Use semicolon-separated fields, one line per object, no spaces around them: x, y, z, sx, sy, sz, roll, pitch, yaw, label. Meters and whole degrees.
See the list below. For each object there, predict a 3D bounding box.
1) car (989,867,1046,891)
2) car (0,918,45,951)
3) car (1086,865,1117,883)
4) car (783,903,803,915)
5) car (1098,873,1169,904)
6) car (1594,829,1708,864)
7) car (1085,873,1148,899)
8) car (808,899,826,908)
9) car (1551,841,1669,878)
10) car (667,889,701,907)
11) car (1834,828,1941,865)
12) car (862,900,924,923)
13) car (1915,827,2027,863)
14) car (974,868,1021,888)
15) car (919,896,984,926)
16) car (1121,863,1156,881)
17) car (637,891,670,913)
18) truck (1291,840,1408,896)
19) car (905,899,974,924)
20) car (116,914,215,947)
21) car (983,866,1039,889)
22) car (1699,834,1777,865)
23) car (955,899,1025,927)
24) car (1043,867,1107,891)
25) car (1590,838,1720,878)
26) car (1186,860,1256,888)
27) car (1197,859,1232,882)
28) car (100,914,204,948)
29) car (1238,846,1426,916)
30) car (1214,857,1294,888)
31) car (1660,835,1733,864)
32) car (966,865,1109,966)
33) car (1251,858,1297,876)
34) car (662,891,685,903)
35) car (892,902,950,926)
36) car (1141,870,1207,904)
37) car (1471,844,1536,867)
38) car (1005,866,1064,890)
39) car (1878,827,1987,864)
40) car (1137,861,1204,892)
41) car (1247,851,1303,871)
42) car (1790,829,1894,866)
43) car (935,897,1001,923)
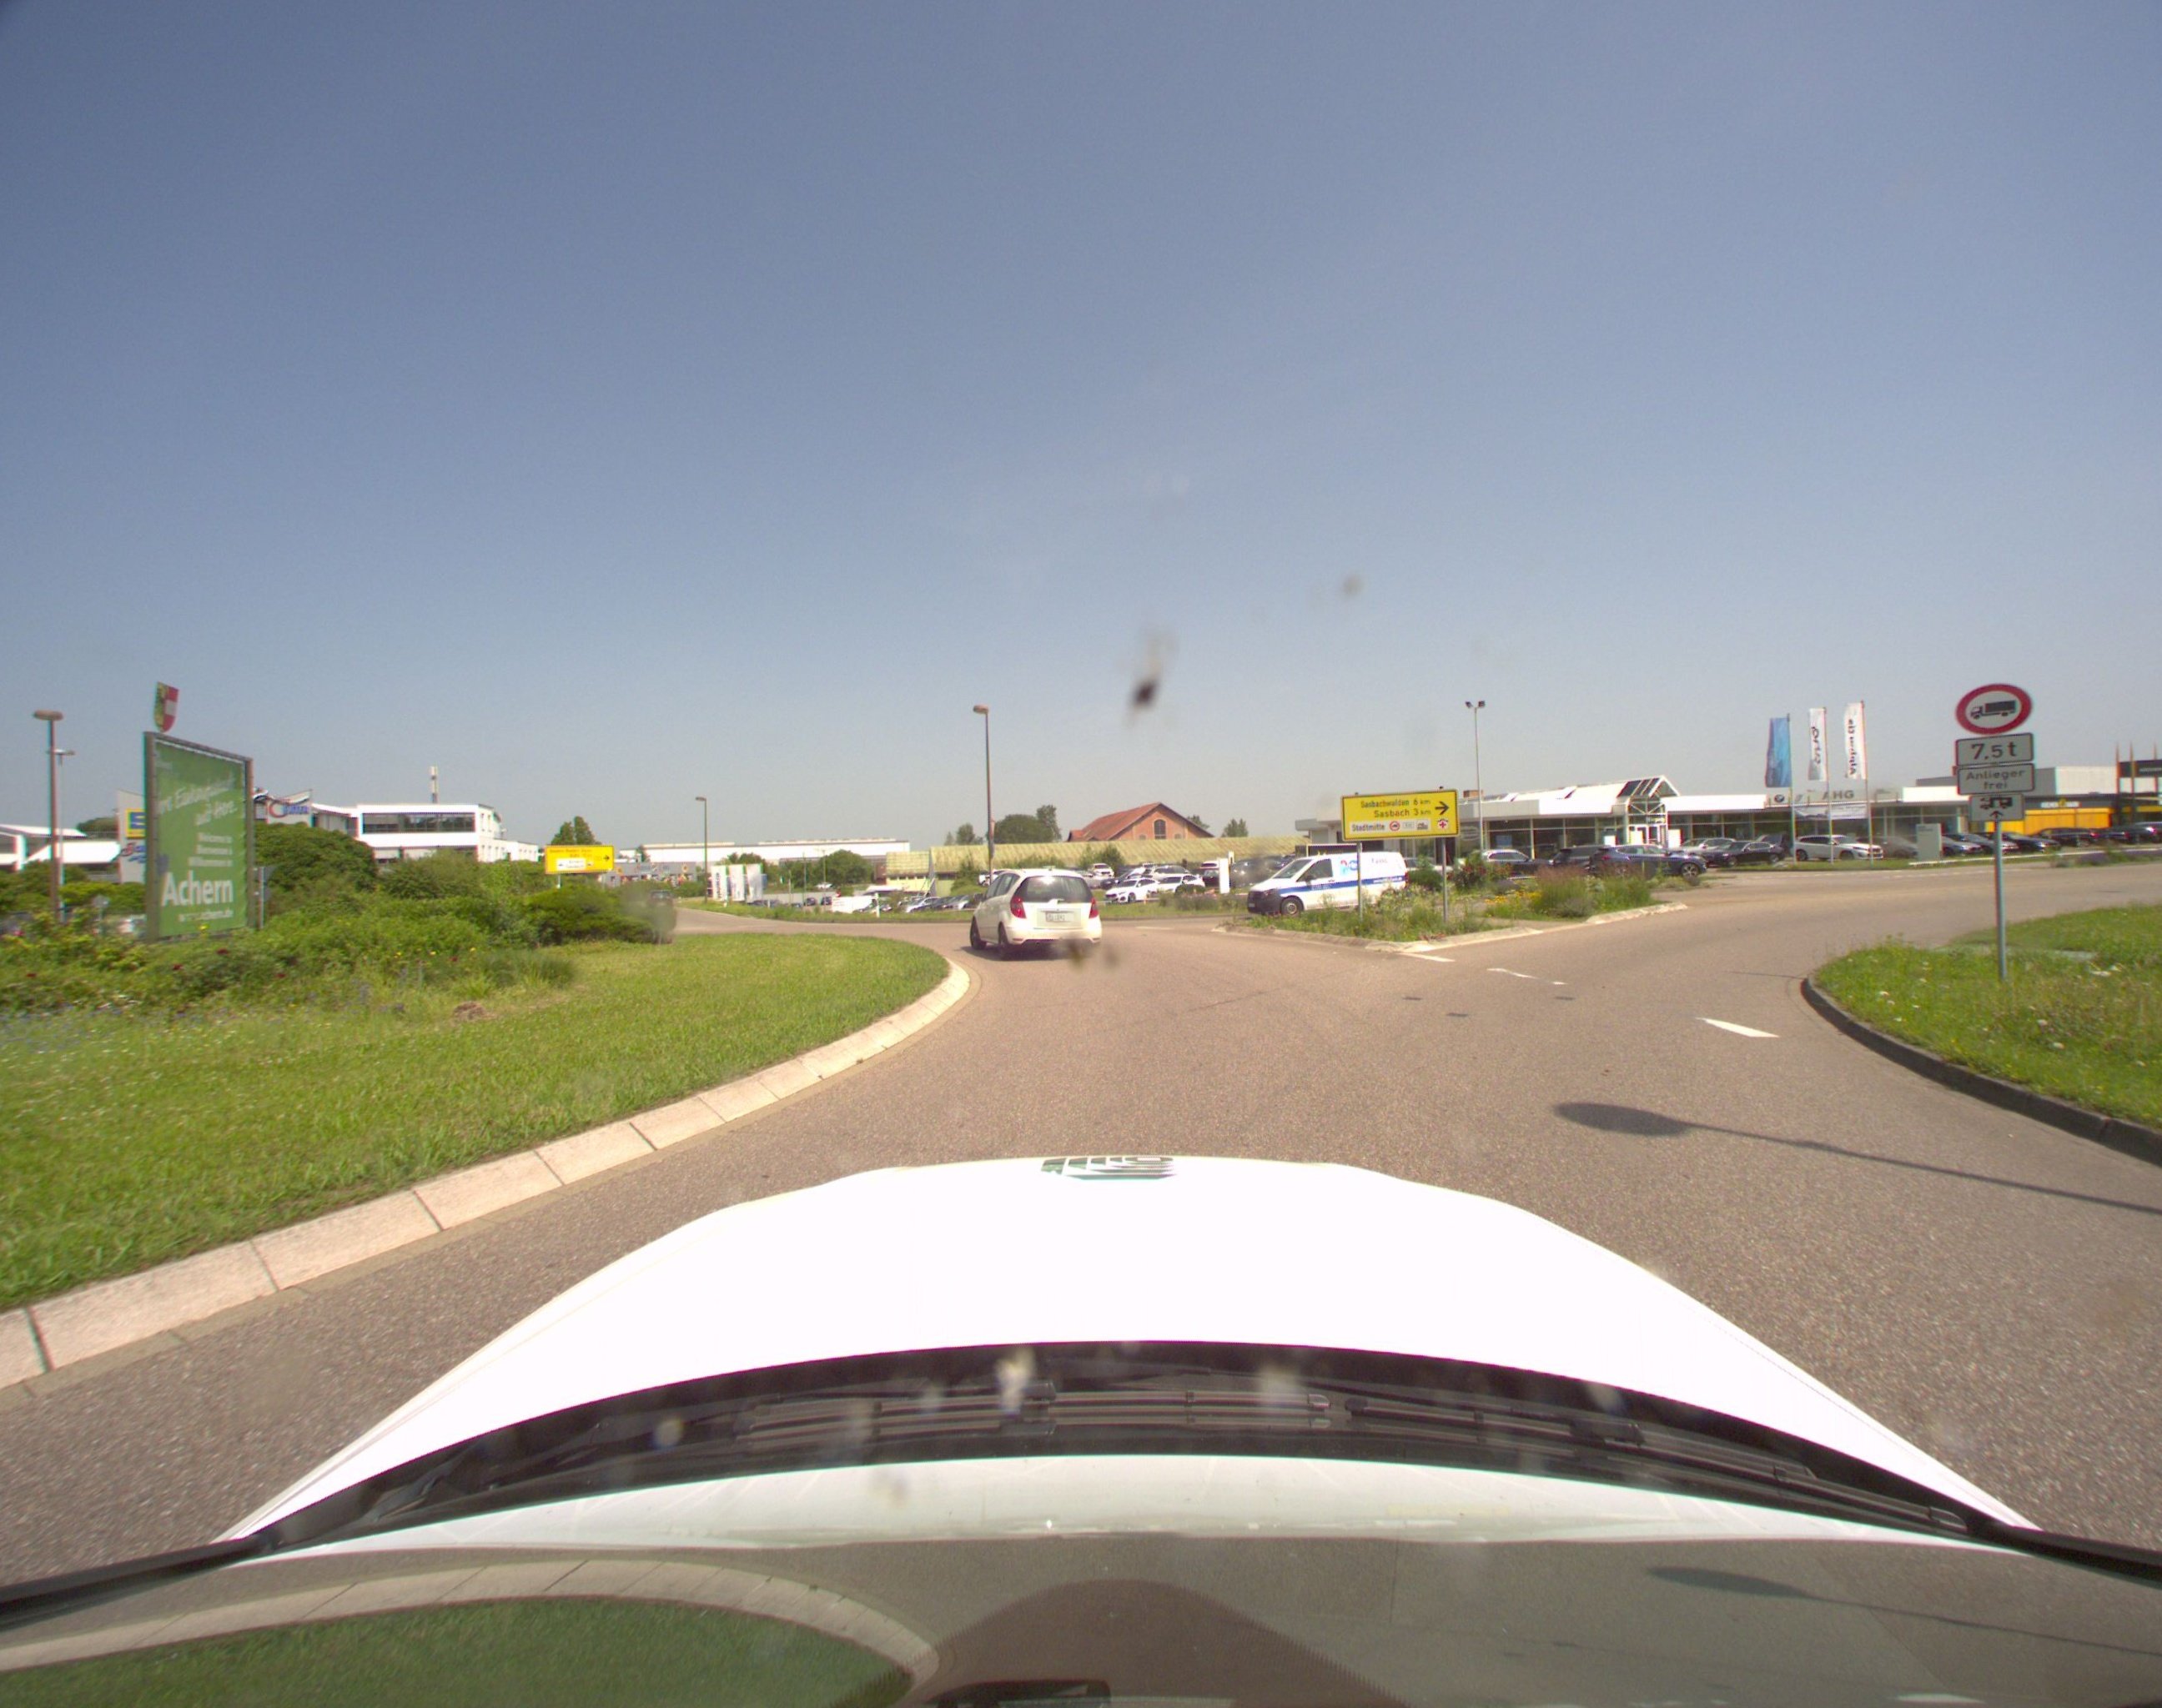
-5.331;2.056;68.154;4.462;1.747;1.829;-2;-1;-16;car
-55.884;4.180;41.115;3.994;1.574;1.989;-2;-2;-15;car
1.940;1.927;77.888;1.919;1.596;4.284;-2;-1;-13;car
-37.764;7.162;106.845;2.139;1.457;4.507;-1;-3;-15;car
3.227;2.060;49.313;1.745;1.570;4.606;-5;-2;41;car
29.052;-0.362;41.650;4.327;1.512;1.918;-3;-1;17;car
2.448;2.185;56.117;3.996;1.526;1.943;-3;-1;-10;car
-44.197;8.210;136.476;1.989;1.398;3.994;-1;-3;-3;car
25.131;0.254;38.851;4.327;1.512;1.918;-3;-1;17;car
-47.065;5.248;96.662;1.986;2.014;4.000;-2;-3;1;car
49.854;-0.411;50.466;1.995;2.014;4.244;-1;-3;-11;car
-15.669;4.809;67.999;4.517;1.640;2.123;0;-4;-39;car
55.889;-0.539;51.262;1.995;2.014;4.244;-1;-3;-11;car
-7.419;2.153;72.565;3.883;1.533;1.759;-2;-1;-16;car
-9.696;4.261;61.017;4.280;1.748;1.978;-3;-3;-35;car
5.536;1.747;79.327;2.190;1.596;4.284;-2;-1;-13;car
-30.472;3.393;58.196;1.837;1.471;4.373;0;-3;-24;car
14.261;0.750;43.404;5.609;2.665;1.943;-3;-1;-10;truck
-10.990;4.438;63.253;4.802;1.508;1.978;-3;-3;-35;car
-50.694;4.198;45.141;3.318;1.574;1.548;-2;-2;-15;car
-6.072;2.045;70.420;4.462;1.747;1.829;-2;-1;-16;car
38.668;-0.253;47.933;3.689;1.654;1.575;-1;-3;-13;car
-6.304;4.110;56.811;4.460;1.465;1.899;-3;-3;-43;car
-0.468;1.873;61.521;4.462;1.500;1.939;-2;-1;-16;car
25.466;0.178;36.321;4.327;1.512;1.918;-3;-1;17;car
9.183;1.300;53.540;4.004;1.499;1.939;-4;0;-16;car
10.548;1.279;63.986;1.638;1.586;4.292;-3;-1;23;car
-49.625;4.098;43.574;3.318;1.574;1.548;-2;-2;-15;car
7.638;0.826;25.009;5.213;1.938;1.854;-1;-3;-10;car
10.753;1.134;50.745;4.421;1.500;1.939;-5;-2;-16;car
38.636;-0.282;51.116;3.689;1.654;1.575;-1;-3;-13;car
-0.977;1.043;15.563;1.786;1.603;3.869;-1;0;-18;car
15.895;1.092;67.097;1.667;1.275;3.303;-2;-1;-41;car
-66.898;7.039;133.739;1.990;2.014;3.992;-1;-3;-5;car
-12.753;4.766;64.829;4.020;1.552;1.977;-2;-4;-39;car
5.574;1.925;48.097;1.745;1.570;4.696;-4;1;35;car
32.363;0.124;62.451;4.028;1.586;1.903;-3;-1;-10;car
-3.801;1.945;66.037;4.462;1.747;1.939;-2;-1;-16;car
52.833;-0.483;50.654;1.995;2.014;4.244;-1;-3;-11;car
6.007;1.488;54.774;4.004;1.750;1.939;-4;-1;-16;car
17.558;0.653;73.698;4.455;1.522;1.942;-3;-1;-11;car
46.538;-0.345;49.934;1.995;2.014;4.244;-1;-3;-11;car
-8.114;4.028;58.703;4.280;1.465;1.853;-3;-4;-35;car
